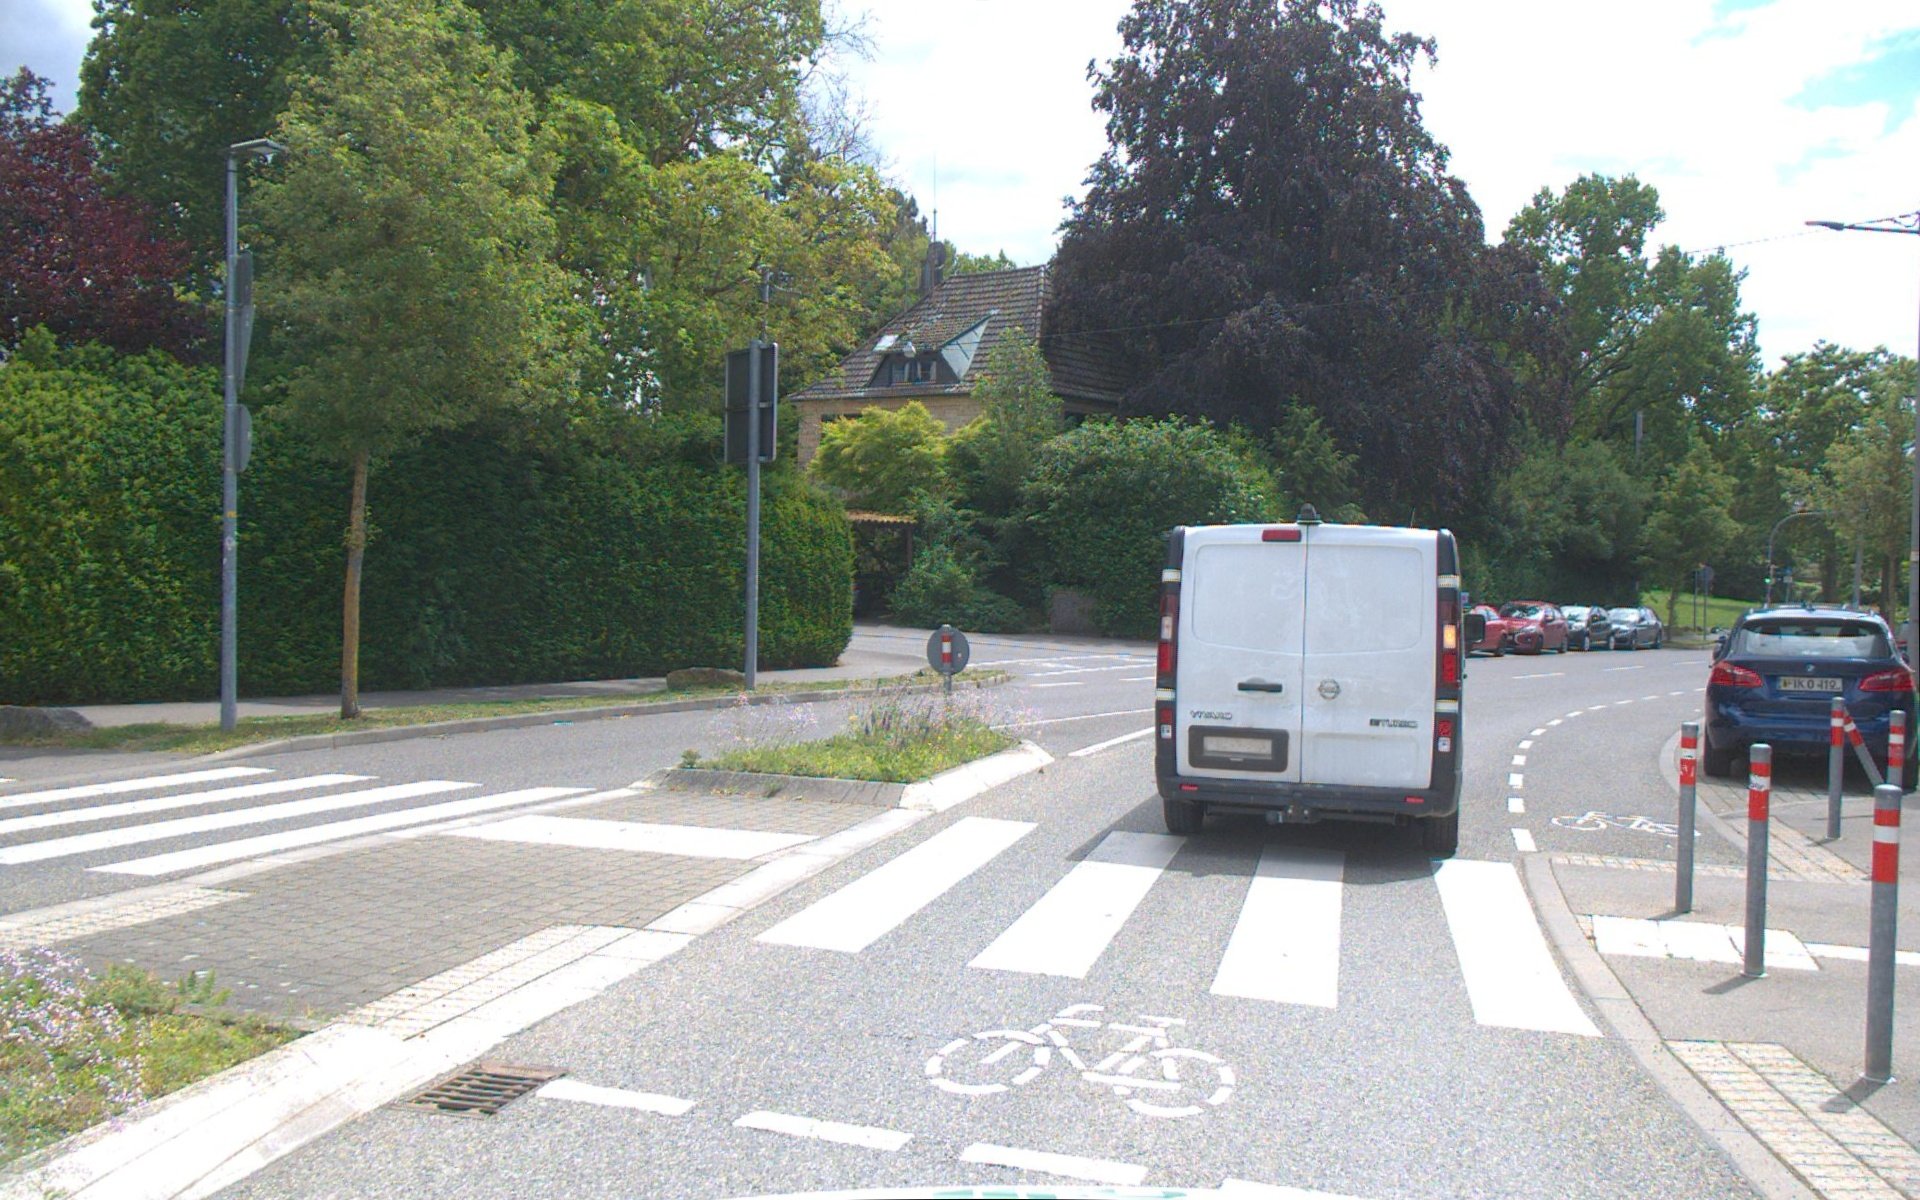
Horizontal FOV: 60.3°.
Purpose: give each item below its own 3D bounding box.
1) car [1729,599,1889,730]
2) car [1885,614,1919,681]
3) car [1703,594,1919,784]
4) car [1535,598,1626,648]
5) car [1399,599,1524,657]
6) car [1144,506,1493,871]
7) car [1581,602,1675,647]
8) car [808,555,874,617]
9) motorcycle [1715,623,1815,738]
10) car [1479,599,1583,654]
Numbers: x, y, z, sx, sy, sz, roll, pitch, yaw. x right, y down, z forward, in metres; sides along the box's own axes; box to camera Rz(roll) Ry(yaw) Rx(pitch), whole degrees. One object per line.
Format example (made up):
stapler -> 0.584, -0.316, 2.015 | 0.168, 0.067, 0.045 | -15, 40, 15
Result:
car -> 12.191, 0.837, 23.648 | 1.843, 1.650, 4.838 | 1, 0, 29
car -> 22.923, 1.083, 38.553 | 1.735, 1.503, 4.915 | -1, -1, 37
car -> 8.501, 0.775, 16.441 | 1.879, 1.606, 4.425 | 1, 0, 26
car -> 19.931, 0.742, 53.050 | 1.571, 1.475, 3.577 | 4, 2, 40
car -> 13.699, 0.749, 45.061 | 1.635, 1.402, 4.543 | 4, 2, 39
car -> 2.719, 0.482, 11.773 | 1.898, 1.995, 4.836 | 2, 0, 17
car -> 22.760, 0.829, 56.267 | 1.668, 1.389, 4.664 | 4, 2, 38
car -> -3.258, -0.419, 45.554 | 1.689, 1.536, 3.998 | 2, 2, -4
motorcycle -> 10.013, 0.956, 20.549 | 1.050, 1.328, 2.258 | -1, -1, 27
car -> 17.012, 0.780, 49.172 | 1.624, 1.475, 4.086 | 4, 2, 38
